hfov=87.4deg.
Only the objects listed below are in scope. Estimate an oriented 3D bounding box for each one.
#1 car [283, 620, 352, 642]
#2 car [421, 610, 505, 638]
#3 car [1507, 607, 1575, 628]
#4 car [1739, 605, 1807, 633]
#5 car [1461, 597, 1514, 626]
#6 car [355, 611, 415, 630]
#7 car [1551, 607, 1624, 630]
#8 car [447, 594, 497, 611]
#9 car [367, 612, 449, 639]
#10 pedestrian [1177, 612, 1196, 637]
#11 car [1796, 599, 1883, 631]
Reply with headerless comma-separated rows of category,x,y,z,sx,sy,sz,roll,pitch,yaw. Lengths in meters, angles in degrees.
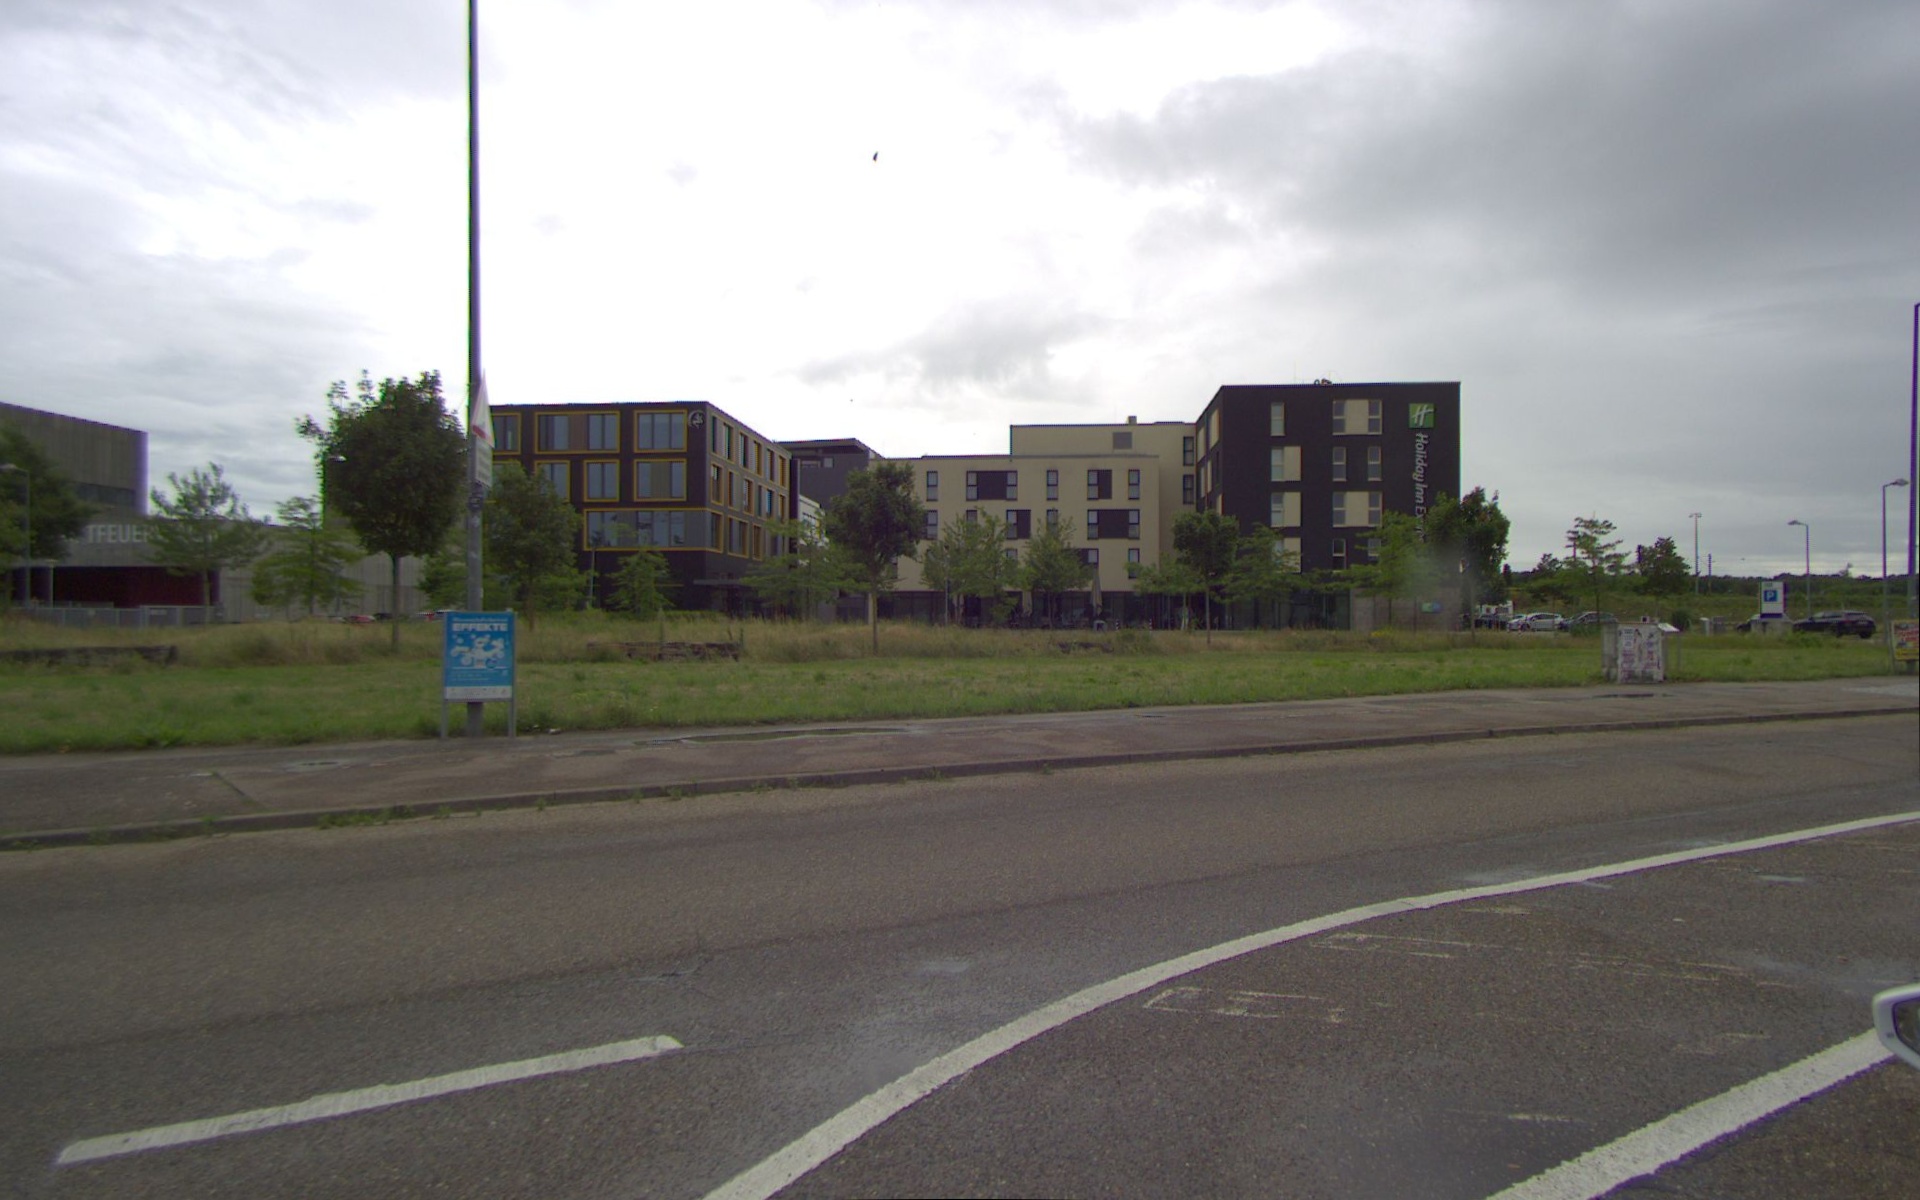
car,-48.563,2.358,75.934,3.921,1.543,2.000,-1,-2,0
car,-29.001,1.413,58.697,3.921,1.543,2.000,-1,-2,0
car,43.843,1.331,75.848,4.073,1.537,1.999,-1,0,-3
car,52.982,1.235,65.533,1.769,1.776,3.678,-1,0,7
car,56.692,1.229,108.098,2.659,2.996,6.579,-1,0,6
car,-47.909,1.714,83.704,3.921,1.543,1.811,-1,-2,-1
car,42.757,1.241,68.505,3.920,1.461,1.699,-1,0,3
car,-47.879,0.280,98.556,3.921,1.543,2.000,-1,-2,0
car,-34.097,1.603,62.130,3.921,1.543,2.000,-1,-2,0
pedestrian,14.652,1.571,65.045,0.860,1.591,0.952,-1,0,-12
car,52.541,0.877,60.103,1.959,1.847,4.002,-1,0,6
